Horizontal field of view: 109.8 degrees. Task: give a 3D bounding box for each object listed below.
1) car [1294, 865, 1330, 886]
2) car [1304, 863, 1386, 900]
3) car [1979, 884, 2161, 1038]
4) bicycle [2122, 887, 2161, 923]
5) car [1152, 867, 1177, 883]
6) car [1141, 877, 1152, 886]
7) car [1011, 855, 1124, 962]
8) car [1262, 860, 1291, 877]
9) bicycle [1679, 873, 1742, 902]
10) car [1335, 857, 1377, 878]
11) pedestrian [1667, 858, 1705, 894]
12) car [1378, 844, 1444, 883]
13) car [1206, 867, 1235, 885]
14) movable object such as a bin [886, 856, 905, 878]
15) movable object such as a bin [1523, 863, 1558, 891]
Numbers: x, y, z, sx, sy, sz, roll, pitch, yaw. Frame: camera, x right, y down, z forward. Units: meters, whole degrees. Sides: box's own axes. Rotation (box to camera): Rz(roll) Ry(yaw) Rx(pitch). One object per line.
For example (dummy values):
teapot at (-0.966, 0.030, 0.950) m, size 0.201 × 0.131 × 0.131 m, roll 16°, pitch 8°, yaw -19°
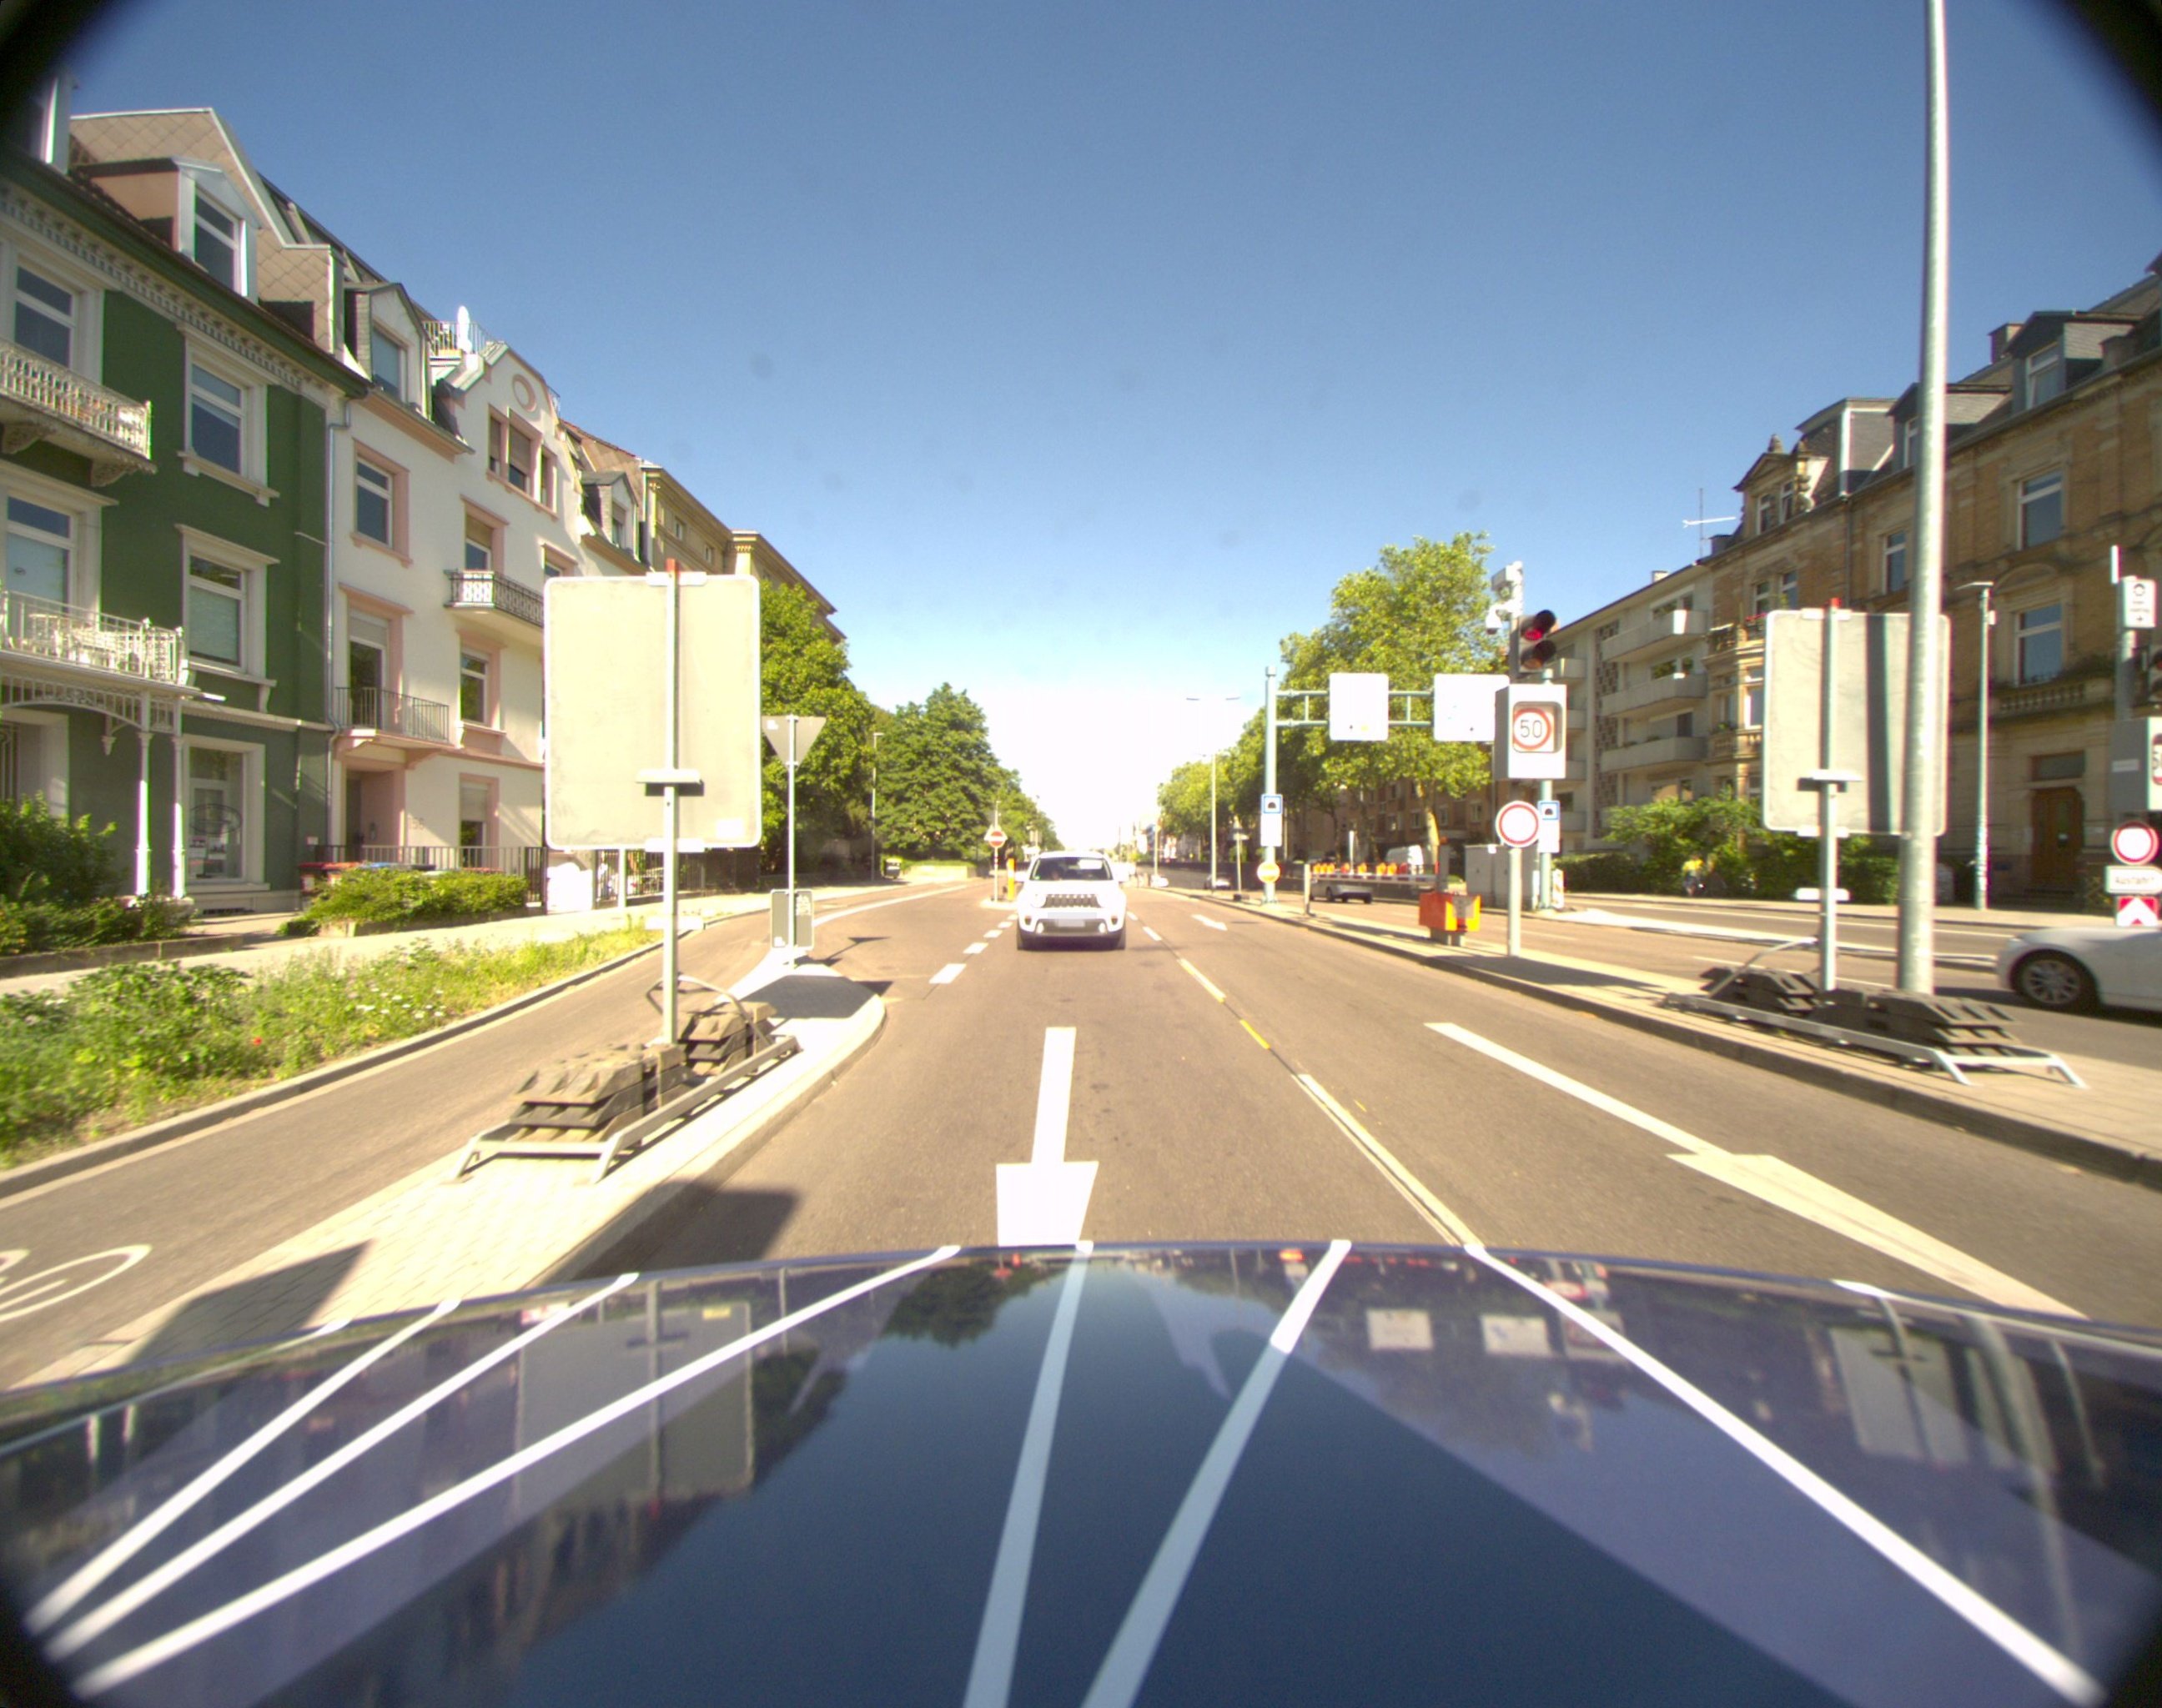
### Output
car at (17.794, 1.631, 58.694) m, size 1.632 × 1.429 × 3.689 m, roll -2°, pitch 0°, yaw 0°
car at (11.476, 1.226, 33.409) m, size 1.999 × 1.443 × 4.392 m, roll -3°, pitch -3°, yaw 0°
car at (10.880, 1.029, 6.229) m, size 1.935 × 1.338 × 4.315 m, roll 0°, pitch 1°, yaw 1°
bicycle at (23.863, 1.138, 16.606) m, size 0.299 × 0.766 × 1.414 m, roll 0°, pitch 0°, yaw 1°
car at (8.979, 2.327, 81.642) m, size 1.999 × 1.443 × 4.620 m, roll 4°, pitch -3°, yaw -1°
car at (11.339, 4.669, 131.100) m, size 1.663 × 1.465 × 3.298 m, roll 0°, pitch -1°, yaw 0°
car at (-0.213, 0.893, 13.665) m, size 1.744 × 1.647 × 3.690 m, roll 0°, pitch -1°, yaw 0°
car at (17.918, 1.354, 69.797) m, size 1.632 × 1.477 × 3.690 m, roll 0°, pitch -2°, yaw -3°
bicycle at (23.806, 1.245, 28.794) m, size 0.468 × 0.999 × 2.250 m, roll -1°, pitch -1°, yaw -1°
car at (22.497, 1.112, 62.321) m, size 1.998 × 1.570 × 4.001 m, roll 2°, pitch -1°, yaw 1°
pedestrian at (23.132, 0.835, 29.067) m, size 0.568 × 1.369 × 1.090 m, roll 0°, pitch 0°, yaw -1°
car at (22.382, 0.674, 51.810) m, size 2.250 × 2.431 × 5.289 m, roll 2°, pitch -1°, yaw 2°
car at (11.864, 1.862, 64.776) m, size 1.611 × 1.432 × 4.311 m, roll 3°, pitch -1°, yaw 0°
movable object such as a bin at (-12.200, 0.866, 49.962) m, size 0.975 × 1.389 × 1.285 m, roll 2°, pitch -1°, yaw -22°
movable object such as a bin at (23.286, 1.165, 38.544) m, size 0.895 × 1.352 × 1.474 m, roll 2°, pitch -1°, yaw 2°
